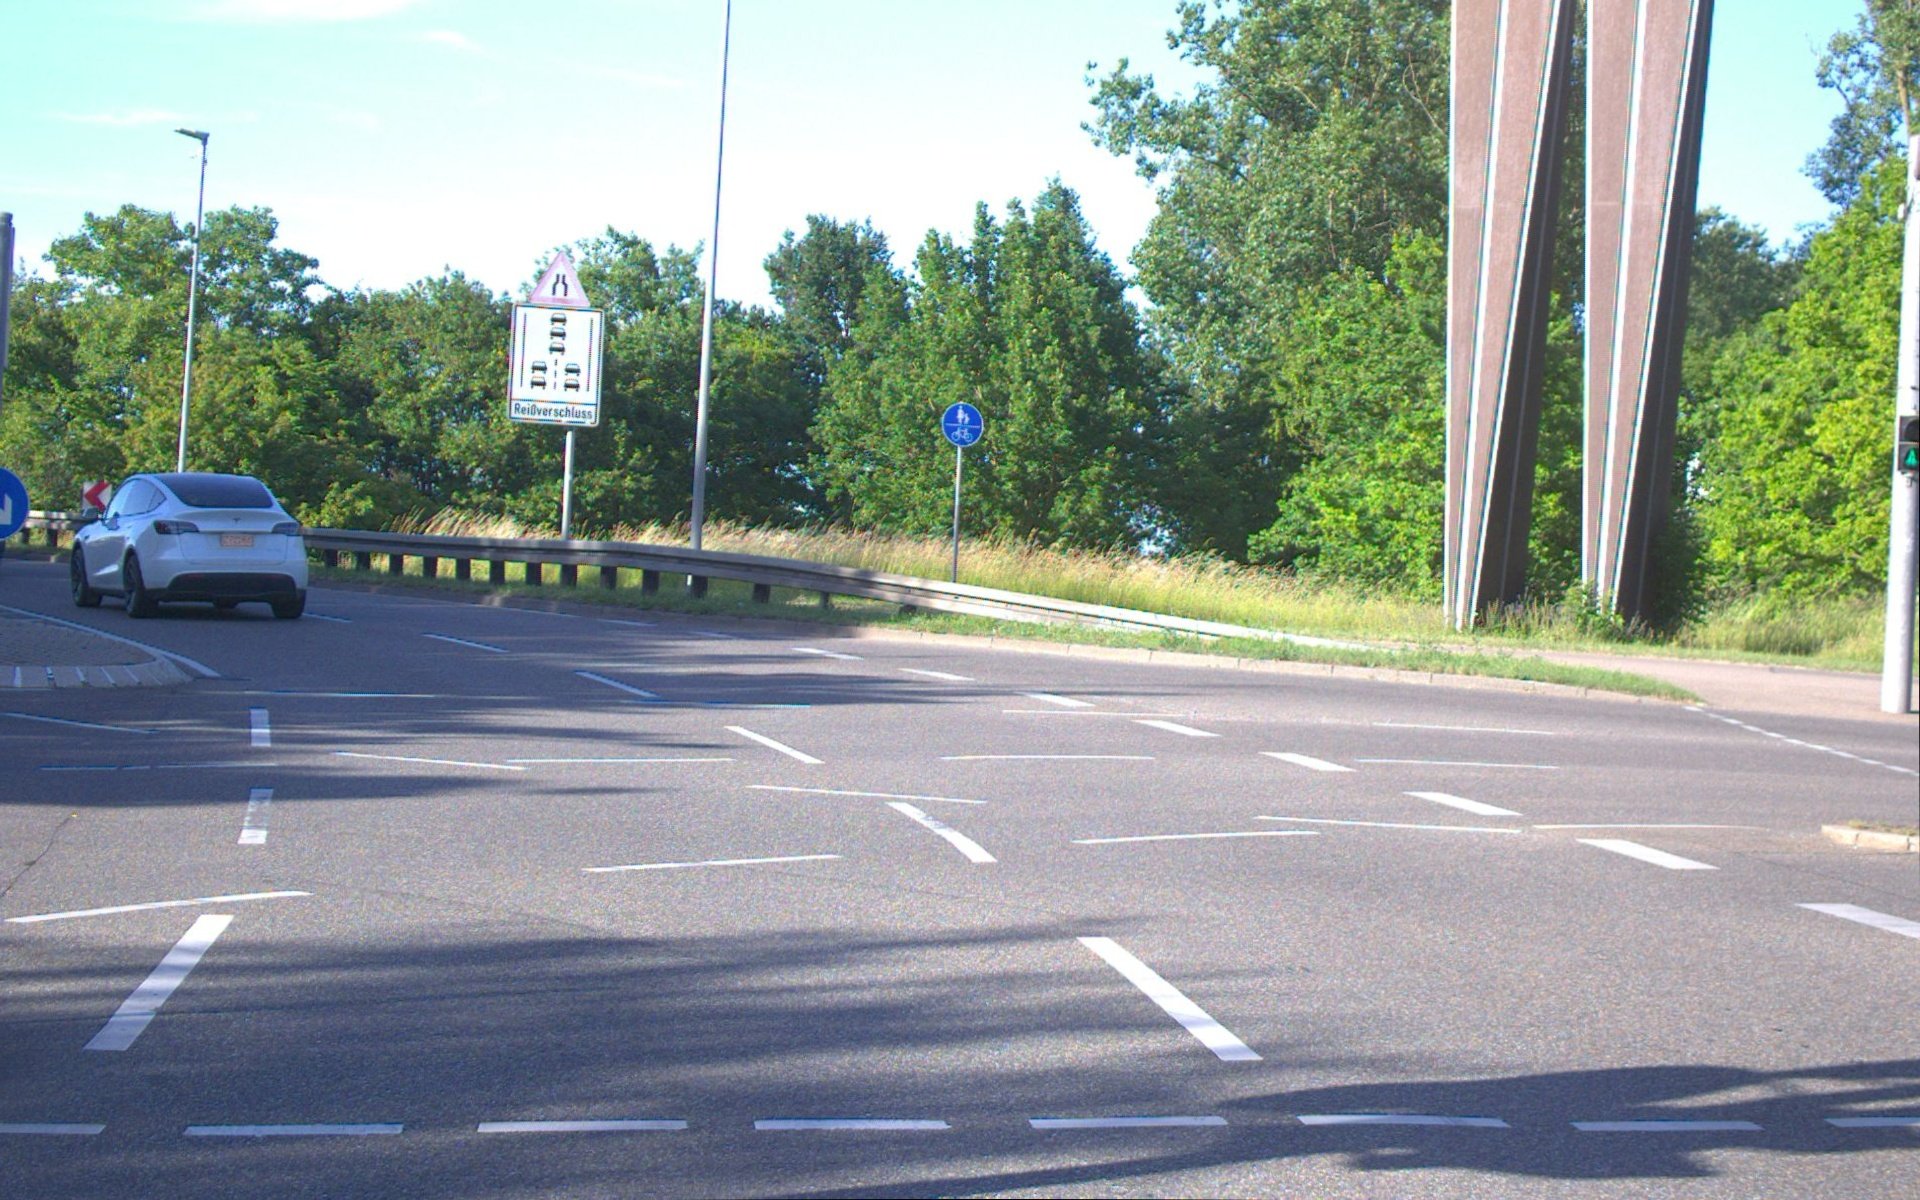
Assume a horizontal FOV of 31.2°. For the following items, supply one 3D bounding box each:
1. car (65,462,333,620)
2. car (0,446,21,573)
[{"bbox_3d":[-8.798,-0.714,39.504,1.993,1.634,4.129,2,1,-27],"label":"car"},{"bbox_3d":[-15.832,-1.455,52.519,1.993,1.873,4.250,2,1,-27],"label":"car"}]
